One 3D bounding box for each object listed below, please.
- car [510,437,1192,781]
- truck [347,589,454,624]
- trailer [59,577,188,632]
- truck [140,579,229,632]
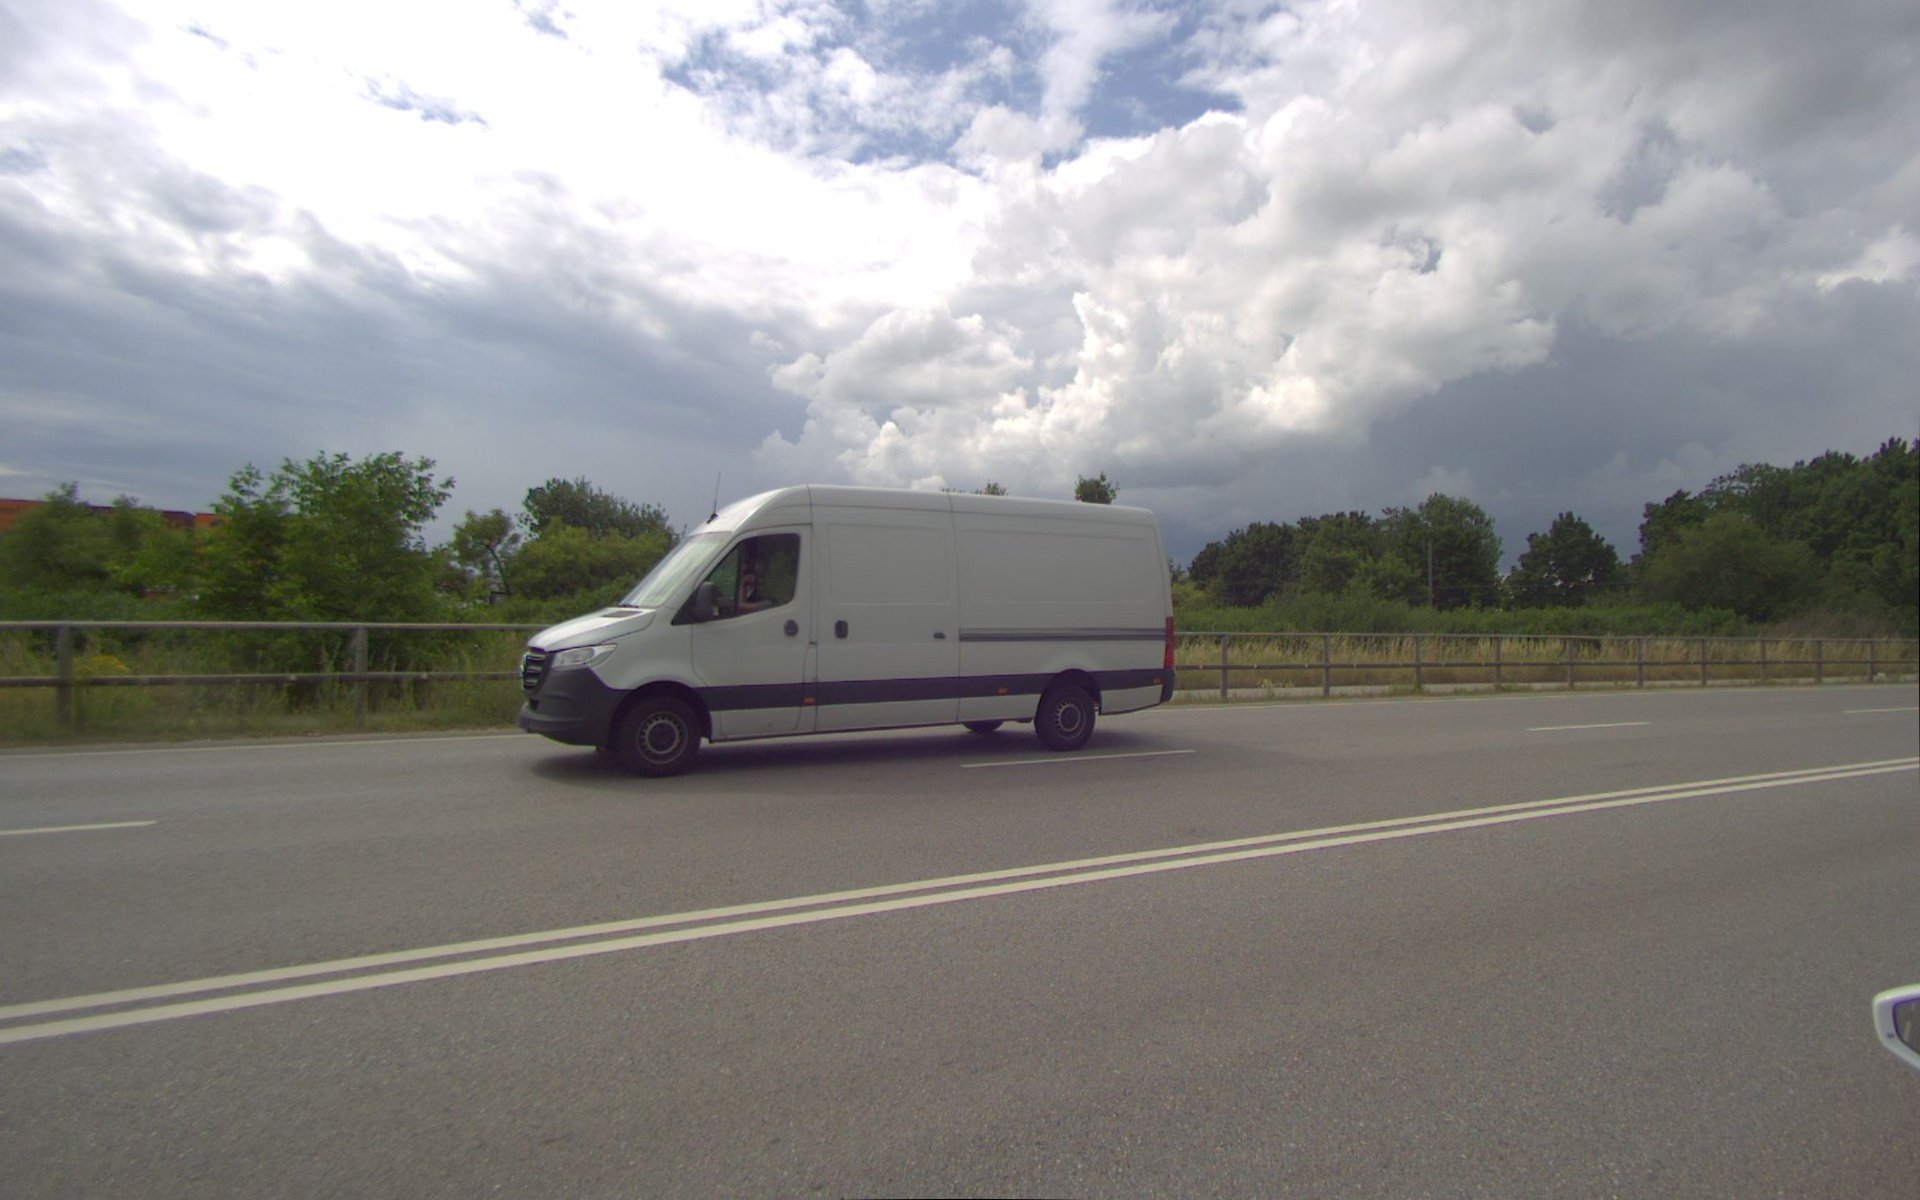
[{"bbox_3d":[-0.932,0.158,10.700,6.807,2.710,2.422,2,-1,-30],"label":"car"},{"bbox_3d":[-37.568,0.449,67.651,6.157,2.040,1.984,3,-1,-29],"label":"truck"},{"bbox_3d":[-43.736,0.275,52.696,5.023,2.695,1.979,2,-1,-37],"label":"trailer"},{"bbox_3d":[-41.787,0.318,54.212,3.697,2.713,1.979,2,-1,-37],"label":"truck"}]
